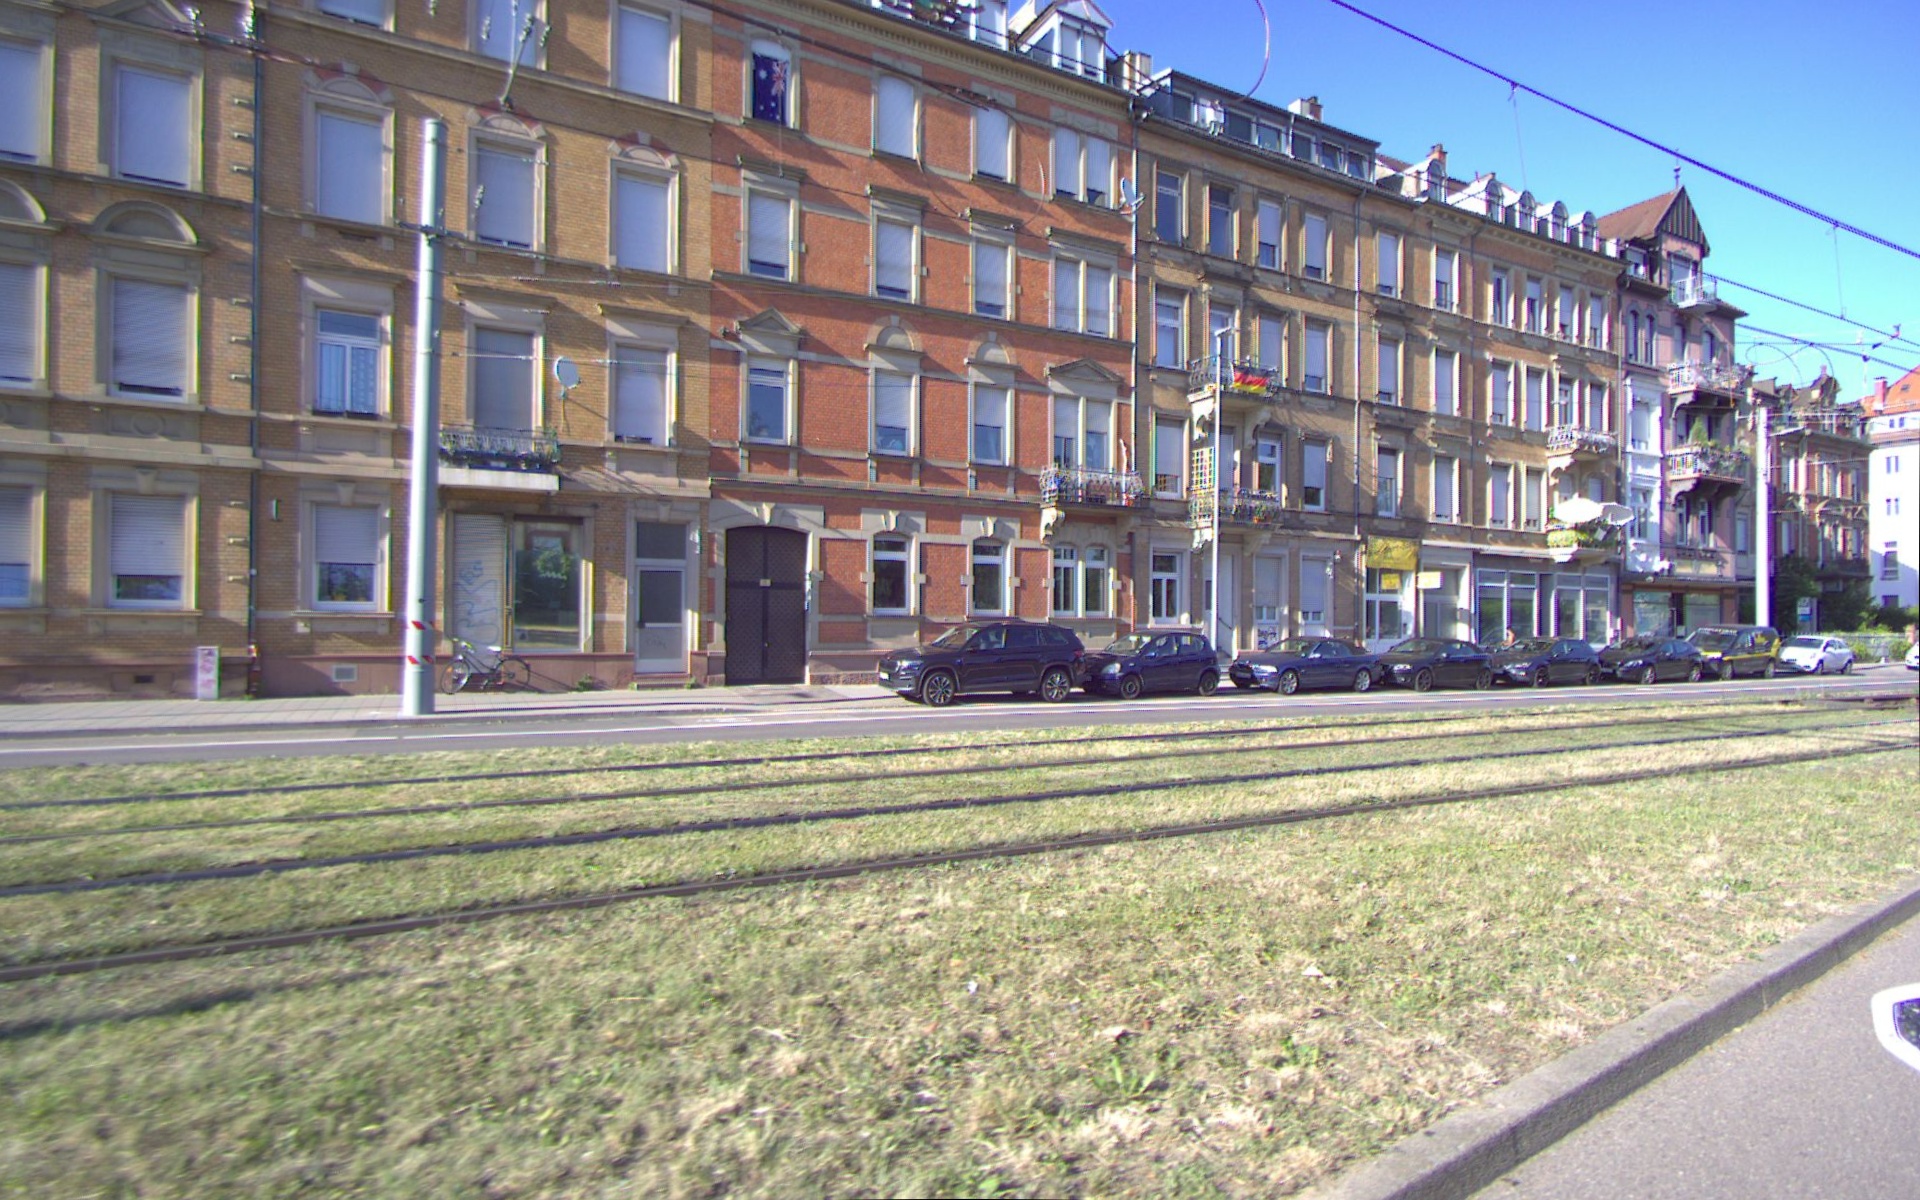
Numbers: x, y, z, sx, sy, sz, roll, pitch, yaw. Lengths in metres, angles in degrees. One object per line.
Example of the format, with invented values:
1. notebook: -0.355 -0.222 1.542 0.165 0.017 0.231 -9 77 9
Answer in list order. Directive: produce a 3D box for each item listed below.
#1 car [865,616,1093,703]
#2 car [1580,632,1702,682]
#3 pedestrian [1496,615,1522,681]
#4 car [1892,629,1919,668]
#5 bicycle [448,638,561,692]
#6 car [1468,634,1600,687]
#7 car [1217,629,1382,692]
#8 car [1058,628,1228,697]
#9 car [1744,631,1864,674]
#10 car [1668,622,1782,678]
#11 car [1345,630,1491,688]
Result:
1. car: 0.428 1.221 21.498 4.569 1.665 1.788 1 0 -26
2. car: 22.135 1.824 32.625 3.931 1.465 1.653 1 0 -28
3. pedestrian: 17.537 1.523 32.082 0.625 2.040 0.875 2 0 33
4. car: 44.293 2.195 45.296 4.569 1.706 1.913 1 0 -28
5. bicycle: -9.054 1.291 20.003 1.988 1.017 0.587 2 0 -31
6. car: 17.411 1.802 30.451 3.931 1.465 1.653 1 0 -28
7. car: 8.826 1.527 26.039 4.144 1.465 1.653 1 0 -28
8. car: 4.325 1.426 23.636 3.718 1.465 1.653 1 0 -28
9. car: 33.101 2.022 39.389 4.566 1.559 1.914 1 -1 -26
10. car: 27.192 1.748 35.662 4.675 1.831 1.651 1 0 -32
11. car: 12.804 1.615 28.052 3.931 1.465 1.653 1 0 -28
